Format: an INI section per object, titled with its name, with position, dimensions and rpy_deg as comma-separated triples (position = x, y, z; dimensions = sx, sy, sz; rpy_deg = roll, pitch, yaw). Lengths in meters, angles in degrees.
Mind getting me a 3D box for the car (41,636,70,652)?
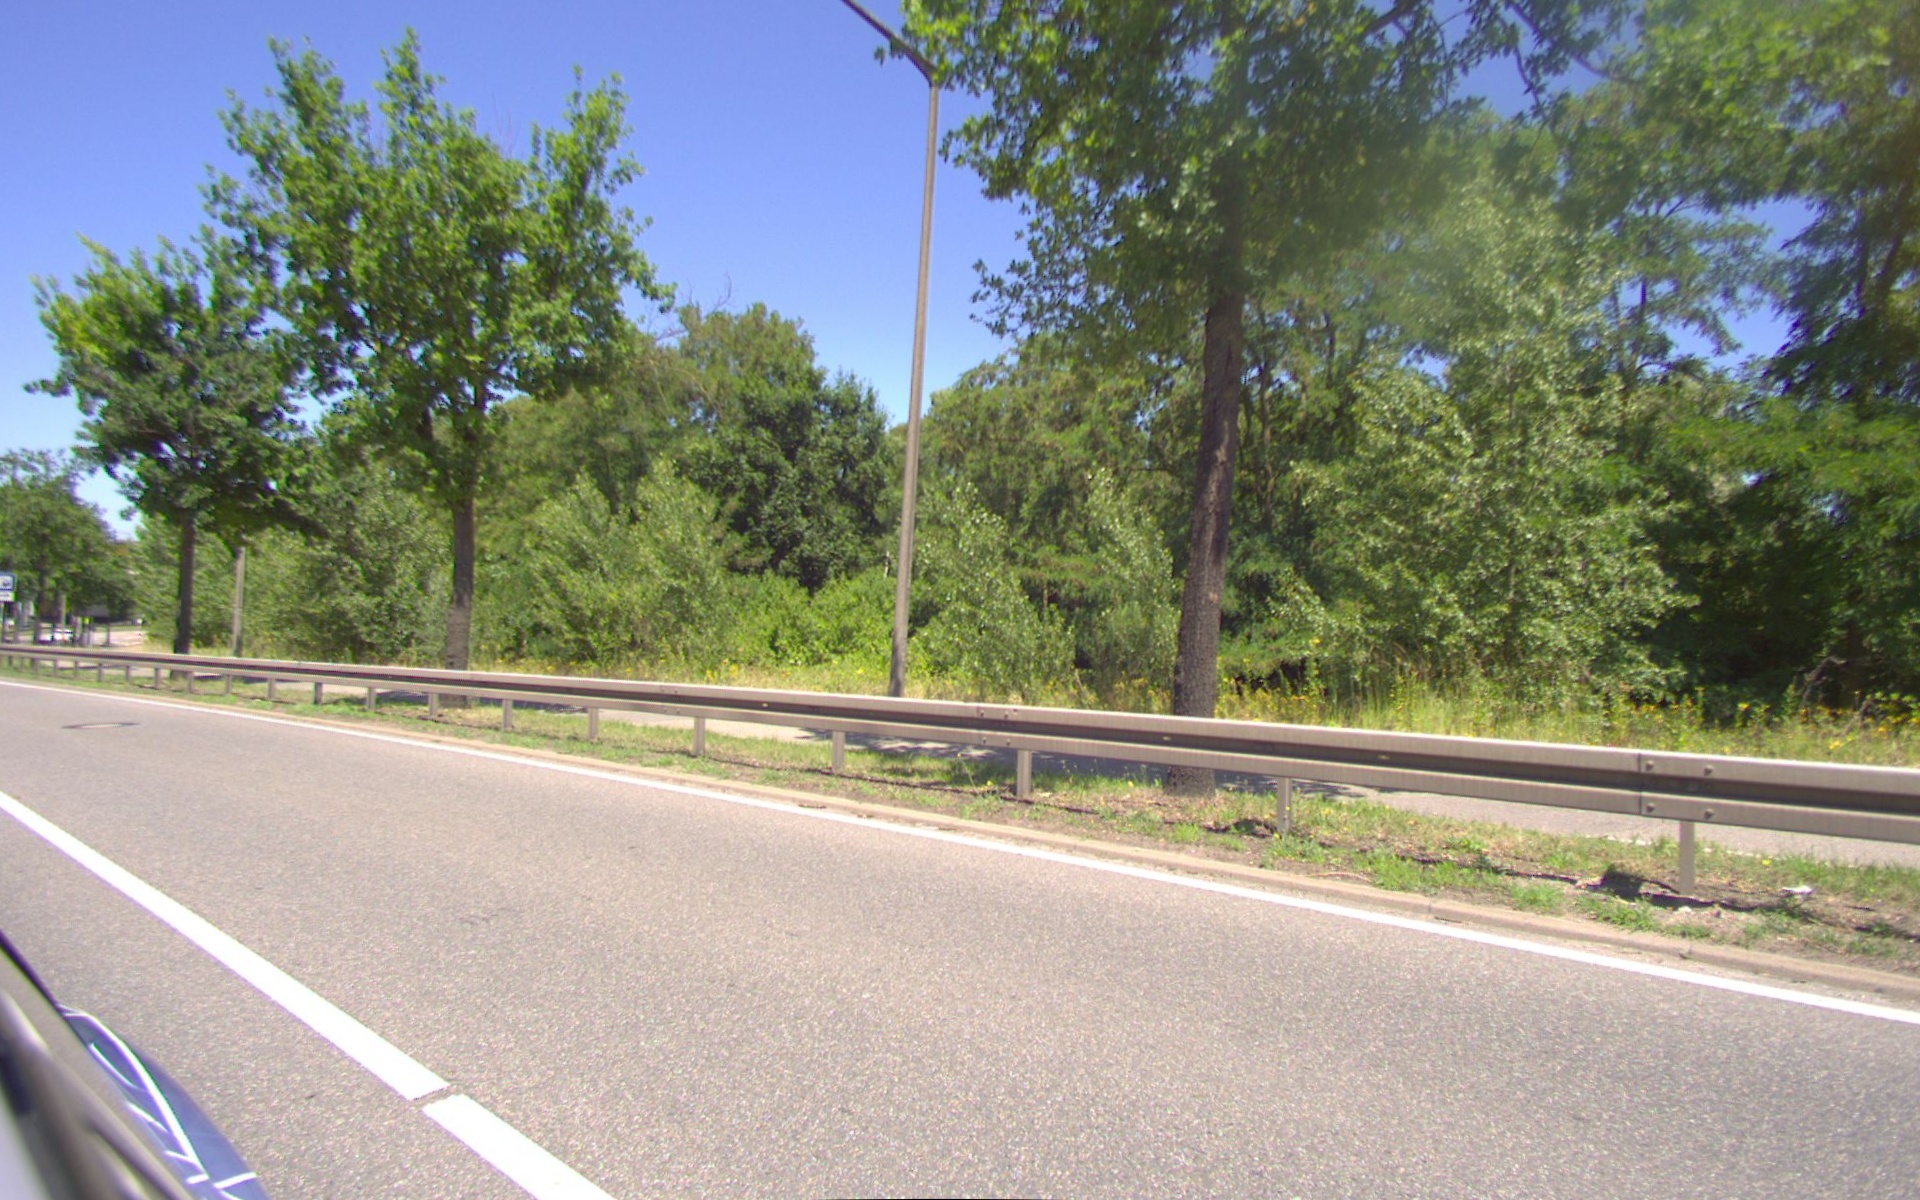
[car]
position = -89.719, 4.348, 100.405
dimensions = 1.752, 1.454, 4.009
rpy_deg = 0, 0, -36
